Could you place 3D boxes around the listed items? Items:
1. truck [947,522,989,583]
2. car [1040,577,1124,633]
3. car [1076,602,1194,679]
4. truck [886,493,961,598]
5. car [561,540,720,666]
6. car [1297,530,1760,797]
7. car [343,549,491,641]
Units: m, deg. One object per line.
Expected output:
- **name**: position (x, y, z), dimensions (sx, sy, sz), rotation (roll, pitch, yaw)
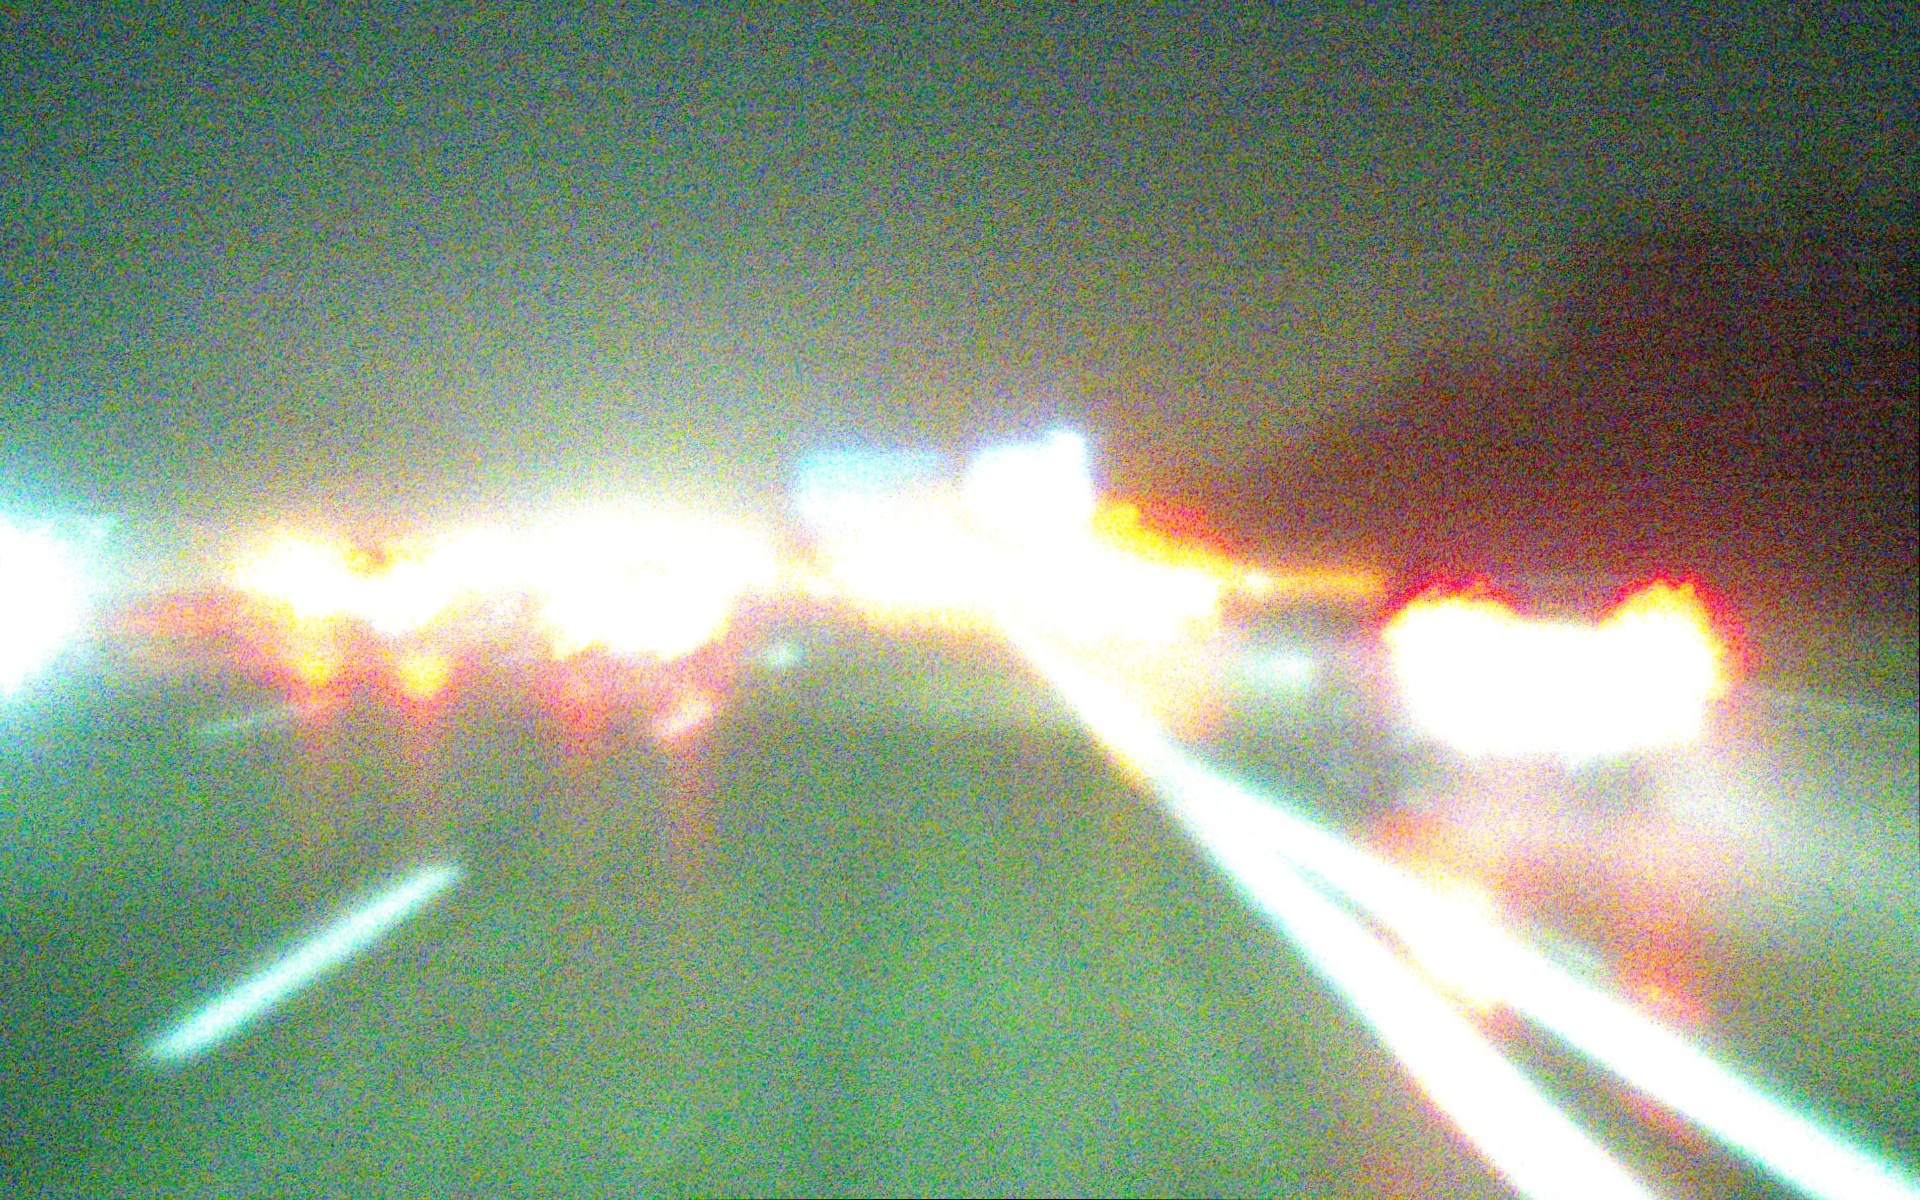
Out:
- **truck**: position (0.450, -2.514, 183.543), dimensions (1.993, 3.032, 6.464), rotation (-3, -1, 1)
- **car**: position (2.745, 0.111, 77.875), dimensions (1.580, 1.242, 3.069), rotation (0, 0, -4)
- **car**: position (2.882, 0.655, 57.052), dimensions (1.580, 1.242, 3.069), rotation (0, 0, -4)
- **truck**: position (-1.103, -1.652, 107.949), dimensions (1.993, 3.032, 6.464), rotation (-3, -1, 1)
- **car**: position (-3.988, -0.002, 43.378), dimensions (1.801, 1.482, 4.001), rotation (1, 1, -3)
- **car**: position (3.536, 0.318, 22.400), dimensions (2.058, 1.514, 5.016), rotation (1, 1, -1)
- **car**: position (-8.056, -0.051, 51.271), dimensions (1.662, 1.232, 3.761), rotation (-3, -1, -2)
